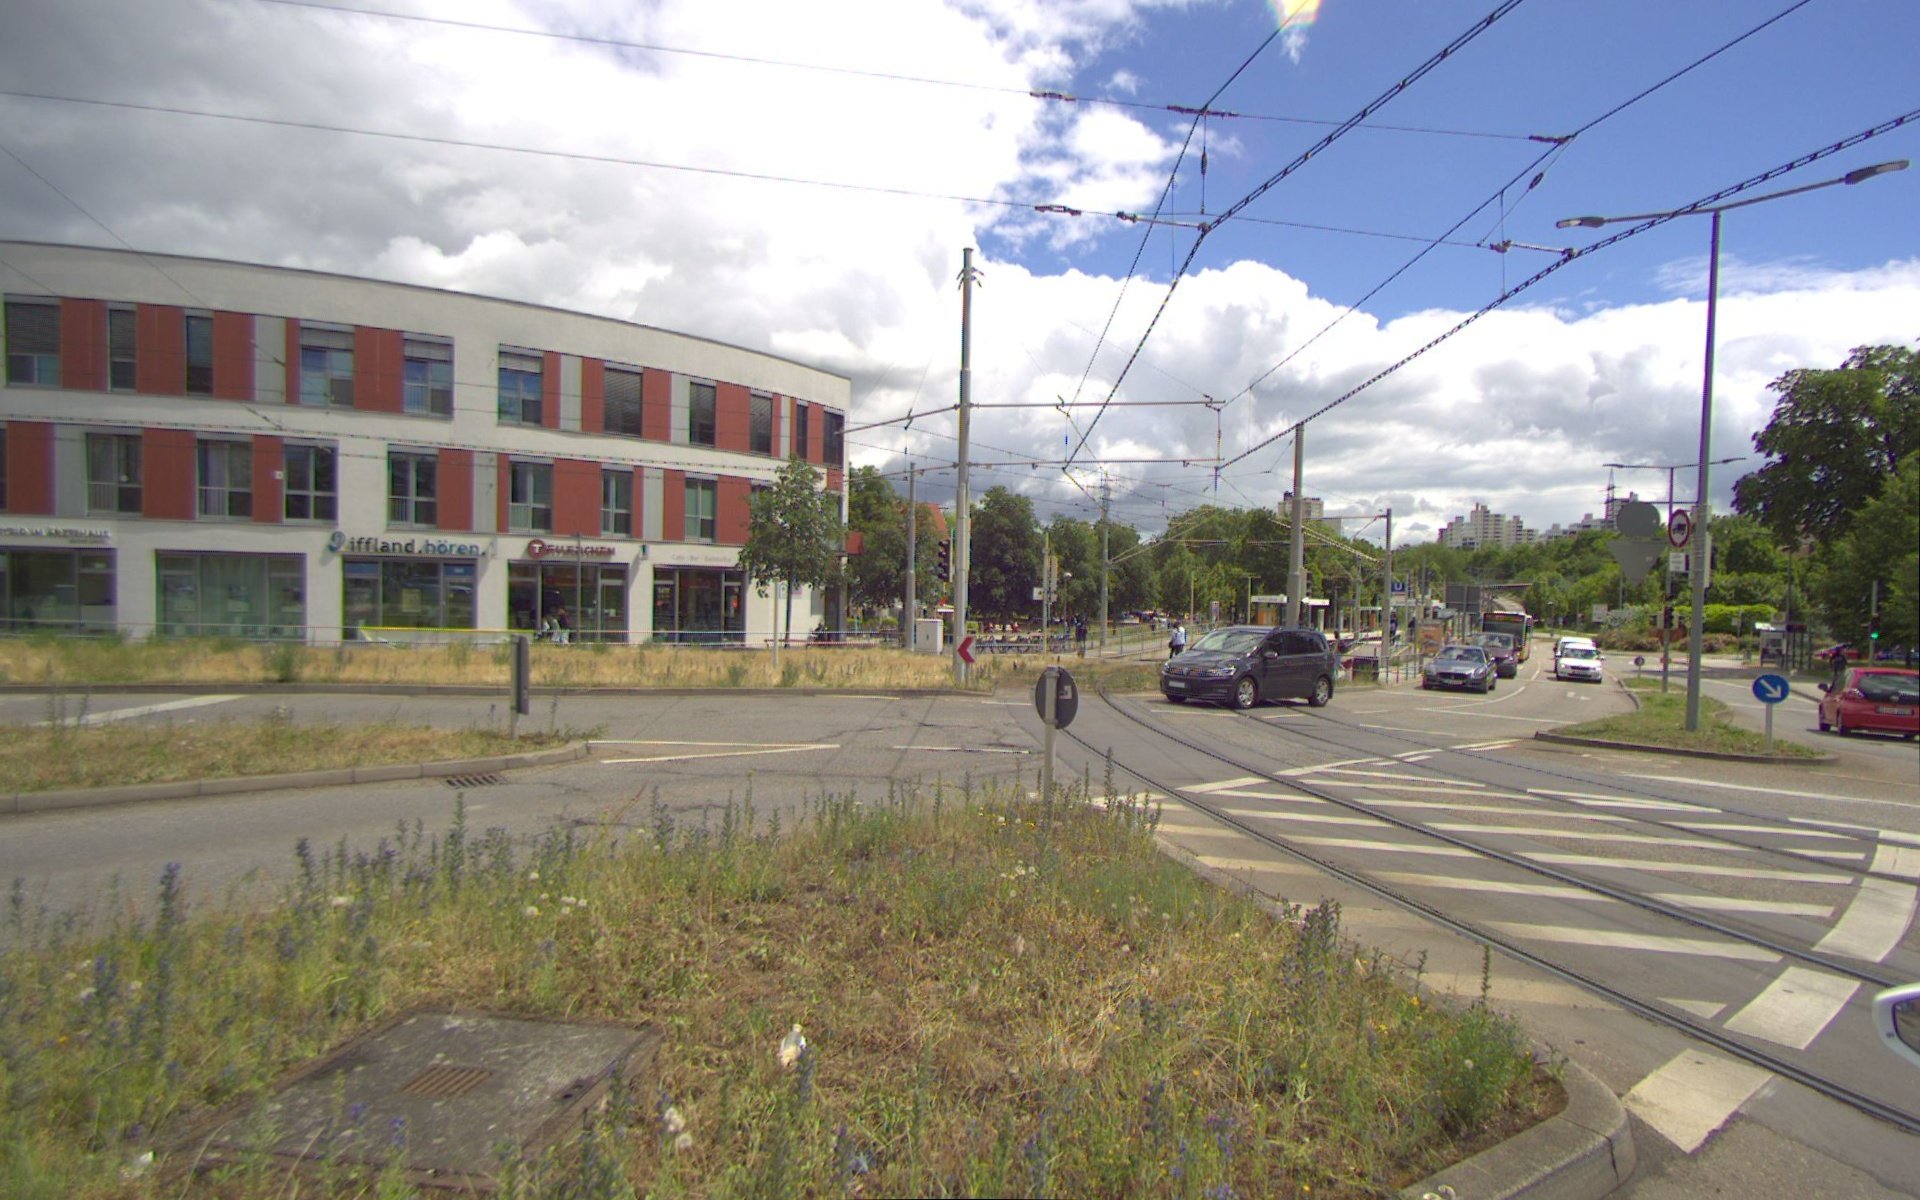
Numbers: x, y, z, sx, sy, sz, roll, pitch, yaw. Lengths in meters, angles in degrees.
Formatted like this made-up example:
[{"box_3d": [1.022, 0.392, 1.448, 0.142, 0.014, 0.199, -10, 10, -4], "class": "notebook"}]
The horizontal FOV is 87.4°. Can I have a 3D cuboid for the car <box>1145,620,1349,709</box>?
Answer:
[{"box_3d": [5.932, 1.298, 20.557, 4.258, 1.601, 1.792, 3, -1, -37], "class": "car"}]

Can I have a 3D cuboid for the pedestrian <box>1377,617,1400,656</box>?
[{"box_3d": [22.798, 1.923, 53.446, 0.957, 2.040, 1.026, 1, -1, 34], "class": "pedestrian"}]

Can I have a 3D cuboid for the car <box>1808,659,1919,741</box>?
[{"box_3d": [19.323, 2.059, 21.262, 1.742, 1.451, 3.468, 1, -1, 35], "class": "car"}]

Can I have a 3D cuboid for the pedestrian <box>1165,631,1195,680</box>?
[{"box_3d": [8.575, 2.136, 39.134, 0.894, 1.846, 0.770, 1, -1, 35], "class": "pedestrian"}]

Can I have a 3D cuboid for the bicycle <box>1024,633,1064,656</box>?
[{"box_3d": [4.025, 2.133, 48.146, 0.689, 1.043, 1.880, 2, -1, -44], "class": "bicycle"}]

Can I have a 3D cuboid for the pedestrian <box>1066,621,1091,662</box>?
[{"box_3d": [4.850, 1.695, 41.084, 0.818, 1.624, 0.671, 1, -4, 18], "class": "pedestrian"}]

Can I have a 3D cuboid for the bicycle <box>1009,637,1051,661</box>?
[{"box_3d": [3.277, 2.293, 47.140, 1.872, 1.077, 0.692, 1, -1, 33], "class": "bicycle"}]

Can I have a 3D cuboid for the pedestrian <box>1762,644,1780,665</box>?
[{"box_3d": [52.387, 3.522, 64.892, 0.816, 1.275, 0.684, 1, 0, 33], "class": "pedestrian"}]

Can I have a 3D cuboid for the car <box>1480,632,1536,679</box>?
[{"box_3d": [24.027, 2.398, 44.111, 1.963, 1.846, 5.065, 2, -1, 28], "class": "car"}]

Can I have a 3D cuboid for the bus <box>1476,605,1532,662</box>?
[{"box_3d": [34.792, 2.021, 64.088, 2.686, 3.151, 9.682, 2, 1, 31], "class": "bus"}]

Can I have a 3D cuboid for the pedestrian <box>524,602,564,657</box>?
[{"box_3d": [-15.705, 1.104, 37.917, 1.128, 2.040, 1.245, 2, -1, -35], "class": "pedestrian"}]

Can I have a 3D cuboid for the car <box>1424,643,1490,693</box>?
[{"box_3d": [16.294, 2.168, 32.842, 1.770, 1.428, 5.047, 2, -2, 27], "class": "car"}]

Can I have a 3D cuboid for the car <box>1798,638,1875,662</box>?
[{"box_3d": [68.358, 3.889, 78.399, 4.091, 1.583, 1.998, 1, 2, 26], "class": "car"}]

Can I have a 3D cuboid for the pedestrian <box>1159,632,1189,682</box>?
[{"box_3d": [8.133, 2.147, 38.157, 0.894, 1.846, 0.770, 1, -1, 35], "class": "pedestrian"}]

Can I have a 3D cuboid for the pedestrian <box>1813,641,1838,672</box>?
[{"box_3d": [43.020, 2.801, 49.933, 0.808, 1.443, 0.828, 1, -1, 31], "class": "pedestrian"}]

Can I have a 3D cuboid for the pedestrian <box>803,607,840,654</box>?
[{"box_3d": [-6.223, 1.365, 45.031, 1.129, 2.040, 1.244, 2, -1, -38], "class": "pedestrian"}]

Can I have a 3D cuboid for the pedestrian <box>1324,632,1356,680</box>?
[{"box_3d": [13.281, 1.947, 35.105, 0.850, 1.658, 0.918, 1, -1, 35], "class": "pedestrian"}]

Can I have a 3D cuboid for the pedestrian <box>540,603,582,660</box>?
[{"box_3d": [-14.656, 1.158, 36.899, 1.128, 2.040, 1.245, 2, -1, -35], "class": "pedestrian"}]

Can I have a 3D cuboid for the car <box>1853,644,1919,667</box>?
[{"box_3d": [64.979, 3.862, 70.024, 3.736, 1.476, 1.893, 0, 0, 28], "class": "car"}]

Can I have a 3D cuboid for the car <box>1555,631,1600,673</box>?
[{"box_3d": [32.136, 2.645, 52.348, 1.735, 1.685, 4.497, 1, 3, 28], "class": "car"}]

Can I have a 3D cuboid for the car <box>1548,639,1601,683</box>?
[{"box_3d": [26.775, 2.605, 43.839, 1.673, 1.671, 4.072, 3, 0, 28], "class": "car"}]

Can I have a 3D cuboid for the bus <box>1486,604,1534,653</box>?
[{"box_3d": [39.562, 1.920, 72.111, 2.686, 3.111, 8.943, 2, 1, 31], "class": "bus"}]

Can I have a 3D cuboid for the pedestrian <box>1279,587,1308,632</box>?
[{"box_3d": [12.120, 0.351, 36.497, 0.818, 1.617, 0.643, 2, -1, 4], "class": "pedestrian"}]

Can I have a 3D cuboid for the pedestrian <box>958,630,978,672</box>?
[{"box_3d": [0.326, 2.143, 42.587, 0.657, 1.757, 0.835, 2, -1, 10], "class": "pedestrian"}]
